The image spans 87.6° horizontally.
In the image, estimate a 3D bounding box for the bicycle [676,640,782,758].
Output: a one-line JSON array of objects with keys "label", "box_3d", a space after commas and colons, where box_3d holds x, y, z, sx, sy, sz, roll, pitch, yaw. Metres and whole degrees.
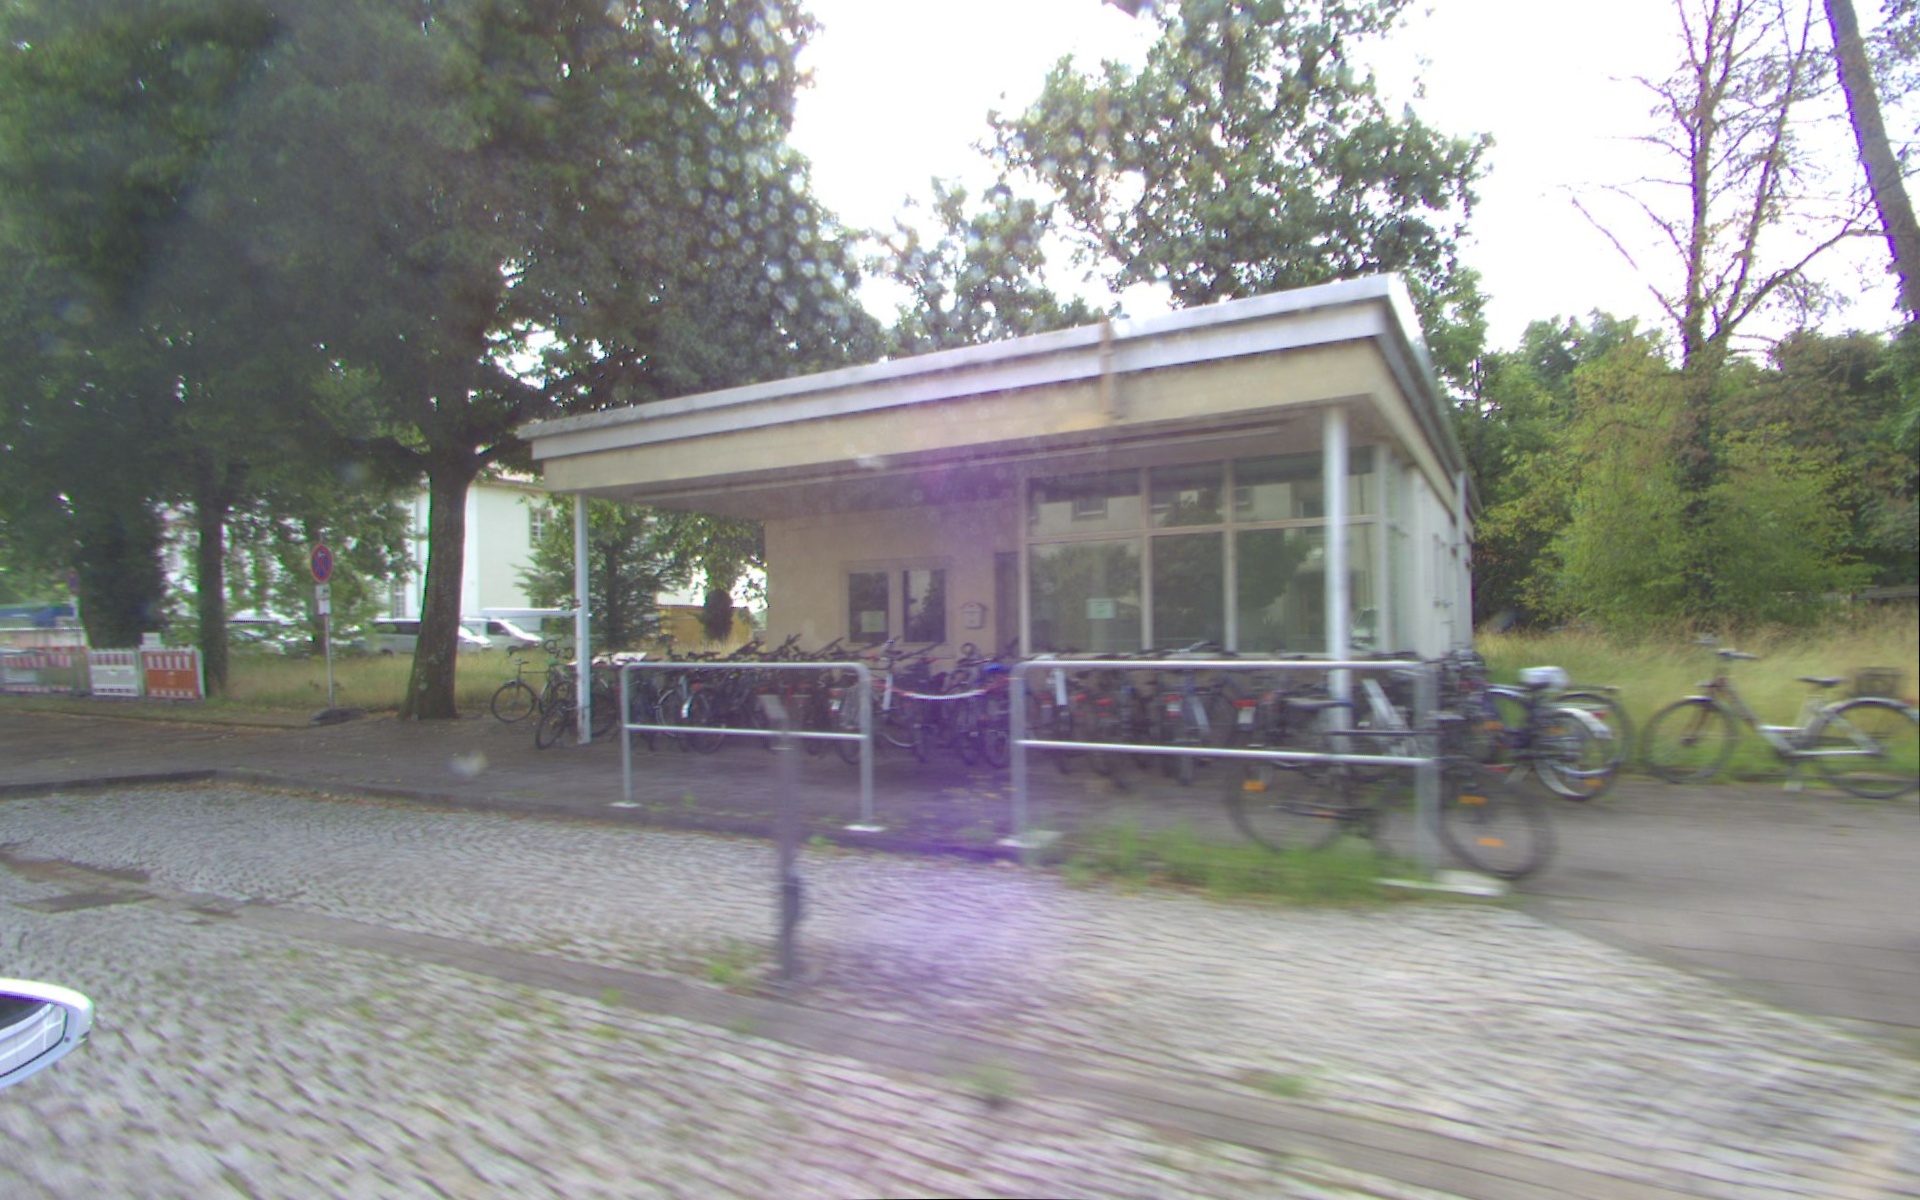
[{"label": "bicycle", "box_3d": [-2.641, 1.107, 11.638, 0.465, 1.206, 1.633, -1, 0, 15]}]

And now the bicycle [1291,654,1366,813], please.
[{"label": "bicycle", "box_3d": [2.753, 0.959, 7.541, 0.281, 1.076, 1.153, -1, -1, 8]}]

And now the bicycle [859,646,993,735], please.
[{"label": "bicycle", "box_3d": [-0.438, 1.158, 12.966, 1.651, 1.090, 0.479, -1, 1, 18]}]

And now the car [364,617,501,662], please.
[{"label": "car", "box_3d": [-22.311, 1.693, 42.486, 4.779, 1.847, 2.001, 0, -2, 2]}]

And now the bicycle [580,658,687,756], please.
[{"label": "bicycle", "box_3d": [-3.926, 1.263, 12.200, 0.744, 0.989, 1.746, -1, 0, -1]}]

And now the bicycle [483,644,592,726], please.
[{"label": "bicycle", "box_3d": [-6.292, 1.236, 14.899, 1.610, 1.132, 0.596, -1, 1, 28]}]

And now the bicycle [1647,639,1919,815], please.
[{"label": "bicycle", "box_3d": [6.023, 0.870, 7.296, 1.658, 1.153, 0.645, -1, -1, 36]}]

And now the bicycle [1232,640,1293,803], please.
[{"label": "bicycle", "box_3d": [2.531, 0.944, 8.315, 0.350, 1.156, 1.614, -1, 0, 21]}]

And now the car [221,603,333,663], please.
[{"label": "car", "box_3d": [-31.460, 1.568, 46.096, 5.824, 2.588, 1.991, -2, -3, 31]}]

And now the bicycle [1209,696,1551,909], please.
[{"label": "bicycle", "box_3d": [2.244, 1.032, 5.444, 1.630, 0.965, 0.533, -2, -1, 29]}]

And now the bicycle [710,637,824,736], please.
[{"label": "bicycle", "box_3d": [-2.562, 1.122, 13.509, 0.598, 1.180, 1.740, -1, 0, 24]}]

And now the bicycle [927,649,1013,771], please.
[{"label": "bicycle", "box_3d": [0.130, 1.071, 10.169, 0.320, 1.064, 1.592, -1, 0, 21]}]

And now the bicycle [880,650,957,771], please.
[{"label": "bicycle", "box_3d": [-0.397, 1.098, 10.372, 0.328, 1.064, 1.633, -1, 0, 14]}]

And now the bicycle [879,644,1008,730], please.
[{"label": "bicycle", "box_3d": [-0.227, 1.159, 13.500, 1.651, 1.090, 0.479, -1, 1, 18]}]

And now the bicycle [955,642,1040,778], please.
[{"label": "bicycle", "box_3d": [0.397, 1.021, 9.800, 0.320, 1.156, 1.592, -1, 0, 21]}]

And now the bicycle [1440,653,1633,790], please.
[{"label": "bicycle", "box_3d": [4.792, 0.975, 8.396, 0.401, 1.023, 1.346, 0, -1, -37]}]

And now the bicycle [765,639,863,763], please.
[{"label": "bicycle", "box_3d": [-1.593, 1.077, 11.166, 0.412, 1.206, 1.632, -1, 0, 16]}]

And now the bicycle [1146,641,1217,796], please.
[{"label": "bicycle", "box_3d": [1.949, 0.966, 8.695, 0.350, 1.156, 1.614, -1, 0, 21]}]

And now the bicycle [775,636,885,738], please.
[{"label": "bicycle", "box_3d": [-1.684, 1.104, 13.229, 0.598, 1.180, 1.740, -1, 0, 24]}]

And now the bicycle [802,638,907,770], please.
[{"label": "bicycle", "box_3d": [-1.065, 1.039, 10.478, 0.490, 1.206, 1.632, -1, 0, 16]}]

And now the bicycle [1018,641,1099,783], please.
[{"label": "bicycle", "box_3d": [0.958, 1.000, 9.447, 0.320, 1.156, 1.614, -1, 0, 21]}]

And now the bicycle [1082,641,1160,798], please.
[{"label": "bicycle", "box_3d": [1.417, 0.965, 8.617, 0.320, 1.156, 1.614, -1, 0, 21]}]

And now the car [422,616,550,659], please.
[{"label": "car", "box_3d": [-21.235, 1.702, 44.981, 4.779, 1.847, 2.001, 0, -2, 2]}]

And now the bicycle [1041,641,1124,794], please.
[{"label": "bicycle", "box_3d": [1.112, 0.978, 8.850, 0.320, 1.156, 1.614, -1, 0, 21]}]

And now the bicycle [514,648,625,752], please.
[{"label": "bicycle", "box_3d": [-4.798, 1.195, 12.417, 0.332, 1.123, 1.679, -1, 0, 15]}]

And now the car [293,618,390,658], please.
[{"label": "car", "box_3d": [-29.884, 1.889, 48.348, 4.803, 1.847, 1.991, -2, -3, 31]}]

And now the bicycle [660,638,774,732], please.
[{"label": "bicycle", "box_3d": [-3.384, 1.157, 14.118, 0.598, 1.180, 1.740, -1, 0, 24]}]

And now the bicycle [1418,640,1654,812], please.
[{"label": "bicycle", "box_3d": [4.319, 0.889, 7.672, 0.466, 1.146, 1.738, 0, -2, -15]}]

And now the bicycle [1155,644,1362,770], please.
[{"label": "bicycle", "box_3d": [2.808, 0.975, 9.485, 1.804, 1.090, 0.489, -1, 1, 28]}]

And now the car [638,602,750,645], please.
[{"label": "car", "box_3d": [-14.170, 1.329, 53.804, 2.179, 2.121, 6.138, -2, -3, 30]}]

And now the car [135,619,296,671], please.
[{"label": "car", "box_3d": [-29.873, 1.737, 40.356, 1.878, 1.946, 4.853, 0, -1, 30]}]

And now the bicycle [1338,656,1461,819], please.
[{"label": "bicycle", "box_3d": [3.214, 0.961, 7.428, 0.332, 1.059, 1.406, -1, -1, 2]}]

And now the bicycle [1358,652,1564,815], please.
[{"label": "bicycle", "box_3d": [3.739, 0.945, 7.647, 0.446, 1.059, 1.750, 0, -2, -10]}]

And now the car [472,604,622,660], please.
[{"label": "car", "box_3d": [-19.659, 1.532, 47.819, 6.297, 2.610, 2.001, 0, -2, -1]}]

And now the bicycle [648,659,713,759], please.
[{"label": "bicycle", "box_3d": [-3.260, 1.242, 11.763, 0.316, 0.989, 1.635, -1, 0, -1]}]

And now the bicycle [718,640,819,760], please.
[{"label": "bicycle", "box_3d": [-2.144, 1.092, 11.414, 0.412, 1.206, 1.632, -1, 0, 16]}]

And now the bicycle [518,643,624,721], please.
[{"label": "bicycle", "box_3d": [-6.019, 1.238, 15.466, 1.610, 1.132, 0.596, -1, 1, 28]}]
